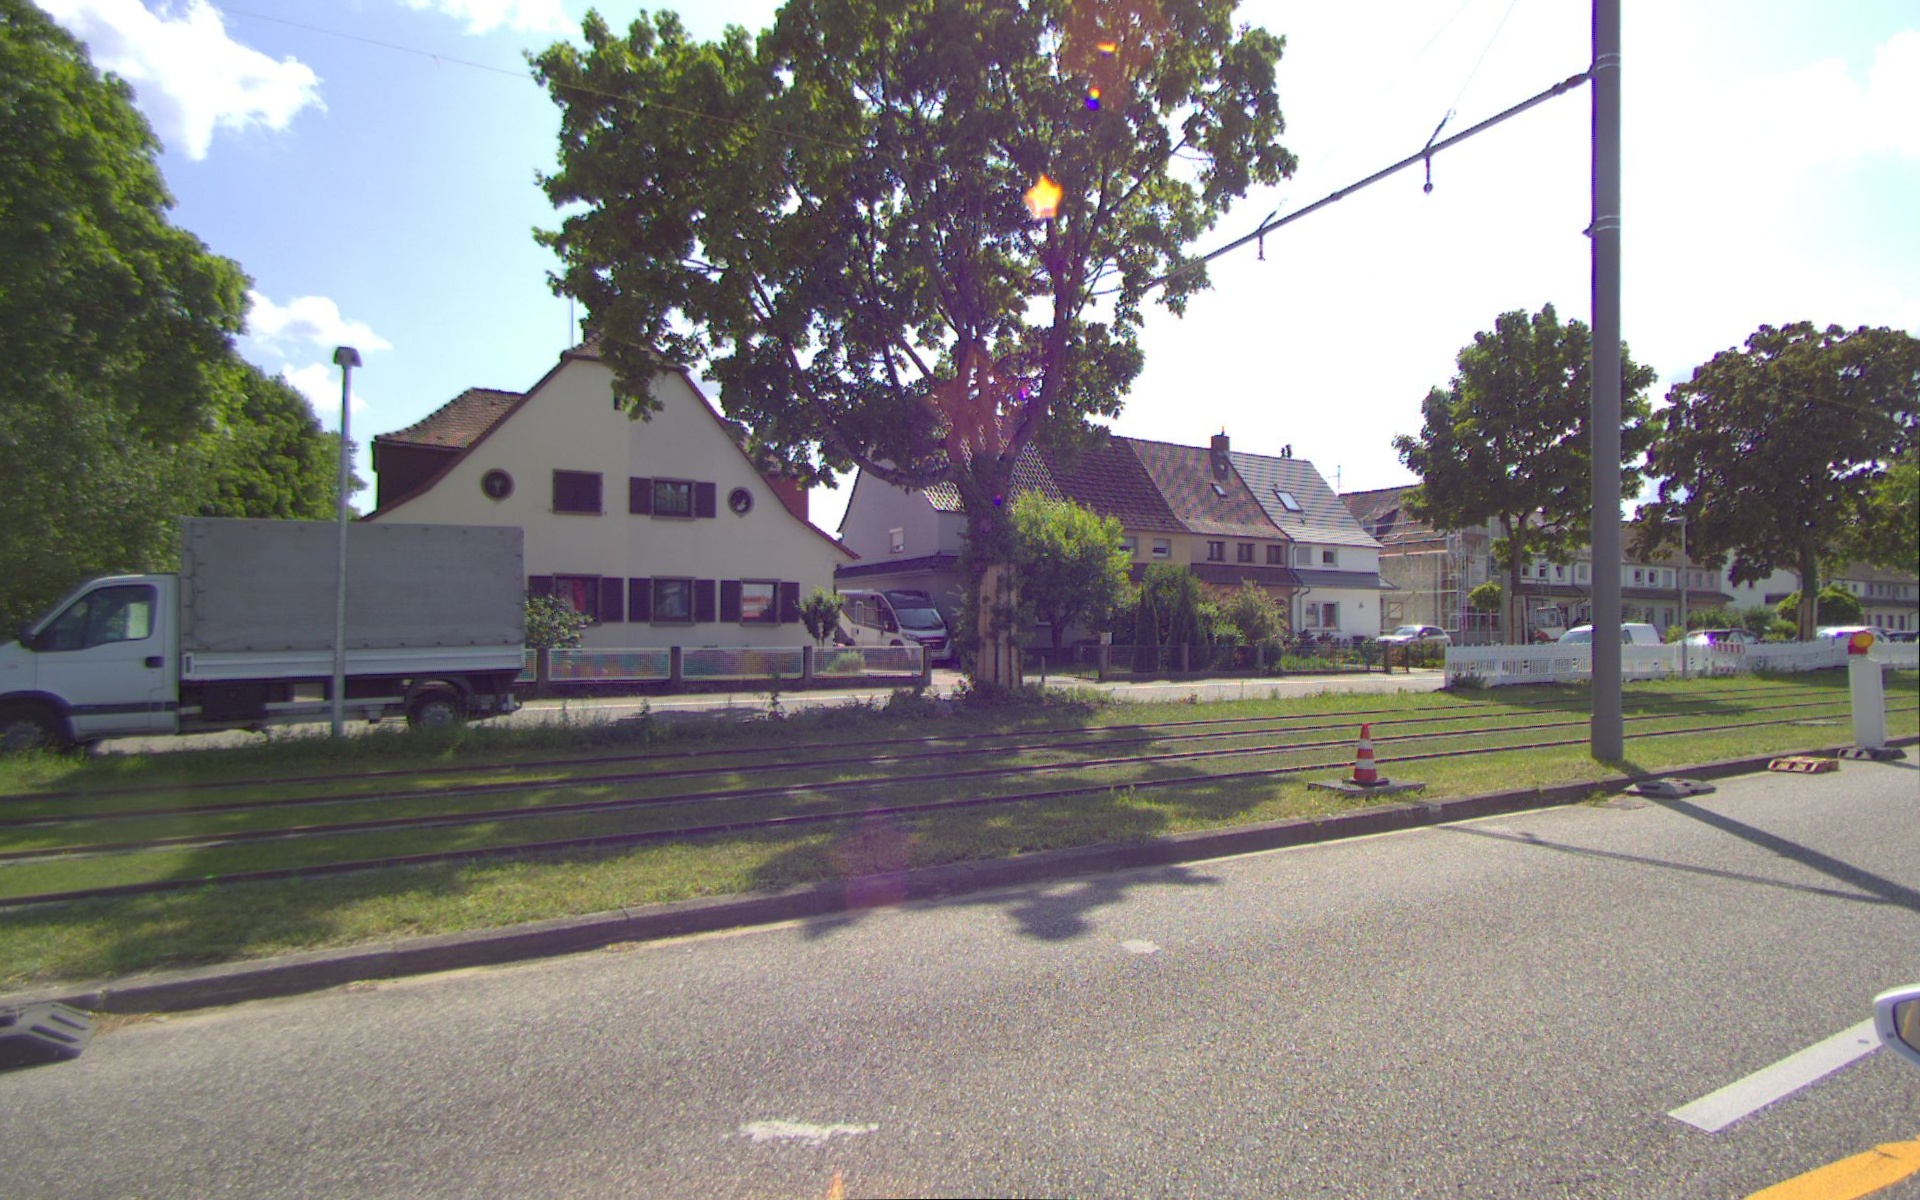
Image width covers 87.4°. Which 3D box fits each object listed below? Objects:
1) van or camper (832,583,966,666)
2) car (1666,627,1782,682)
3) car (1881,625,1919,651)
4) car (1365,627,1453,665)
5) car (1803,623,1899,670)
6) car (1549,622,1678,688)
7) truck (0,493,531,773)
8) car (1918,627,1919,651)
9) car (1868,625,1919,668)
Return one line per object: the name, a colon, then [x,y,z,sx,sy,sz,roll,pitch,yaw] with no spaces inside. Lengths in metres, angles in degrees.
van or camper: [-2.343,0.909,36.656,2.224,2.745,5.963,1,-2,-33]
car: [25.753,1.800,33.830,4.006,1.762,1.691,1,-2,-30]
car: [66.762,2.682,70.731,4.013,1.762,1.691,1,-2,-30]
car: [19.897,1.995,44.483,3.814,1.614,1.691,1,-2,-30]
car: [34.925,1.801,39.350,3.814,1.762,1.691,1,-2,-30]
car: [19.508,1.605,29.963,3.814,1.841,1.691,1,-2,-30]
truck: [-8.792,0.415,12.940,5.805,3.027,1.994,1,-2,-30]
car: [72.145,2.846,73.667,4.013,1.762,1.691,1,-2,-30]
car: [40.397,1.961,42.602,3.814,1.762,1.691,1,-2,-30]
